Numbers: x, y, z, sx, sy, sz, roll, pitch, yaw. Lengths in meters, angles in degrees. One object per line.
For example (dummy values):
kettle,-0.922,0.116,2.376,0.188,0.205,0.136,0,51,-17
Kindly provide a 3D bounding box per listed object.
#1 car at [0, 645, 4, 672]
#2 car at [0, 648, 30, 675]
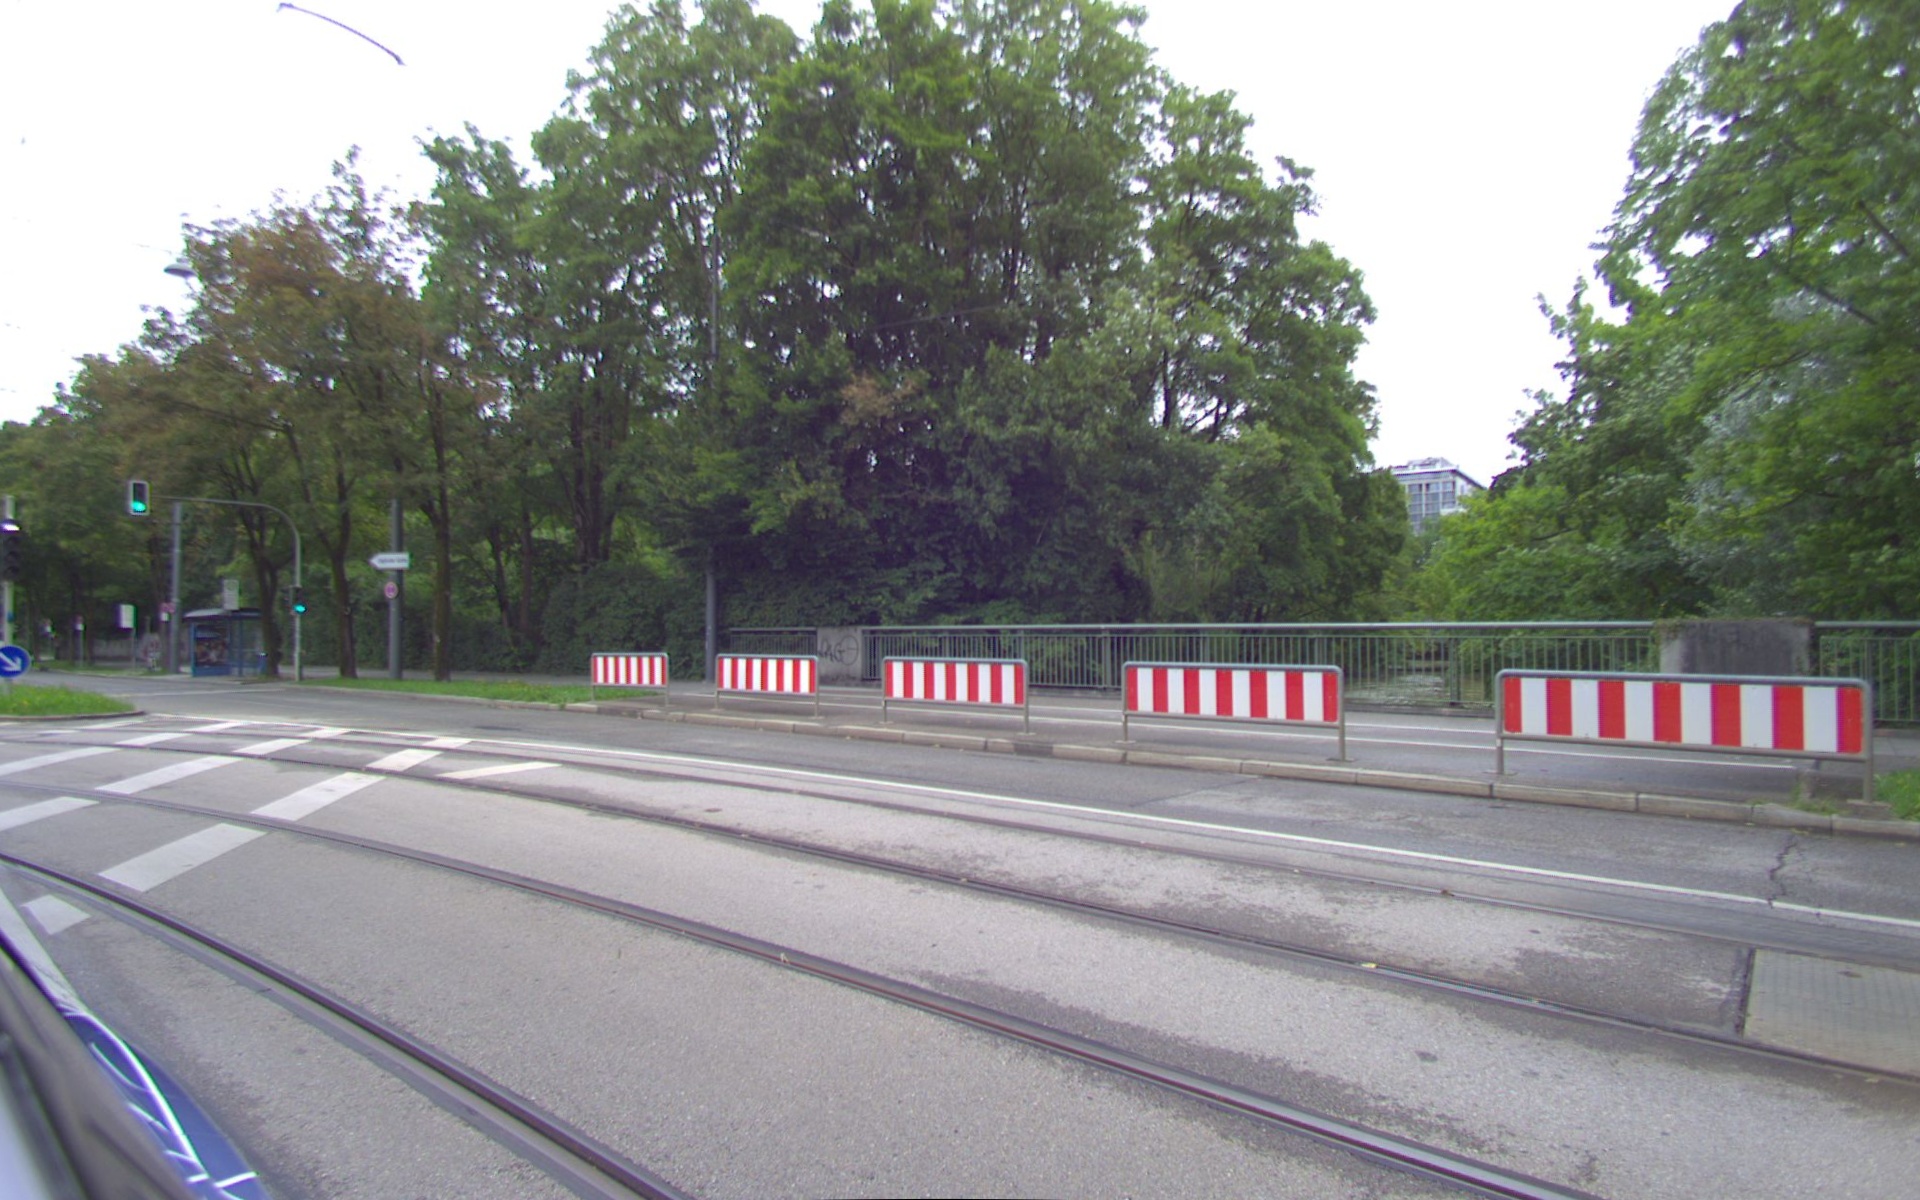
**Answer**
car,-64.733,3.857,66.845,3.996,1.739,1.864,-1,0,40
car,-60.212,3.868,63.744,3.996,1.552,1.864,-1,0,40
